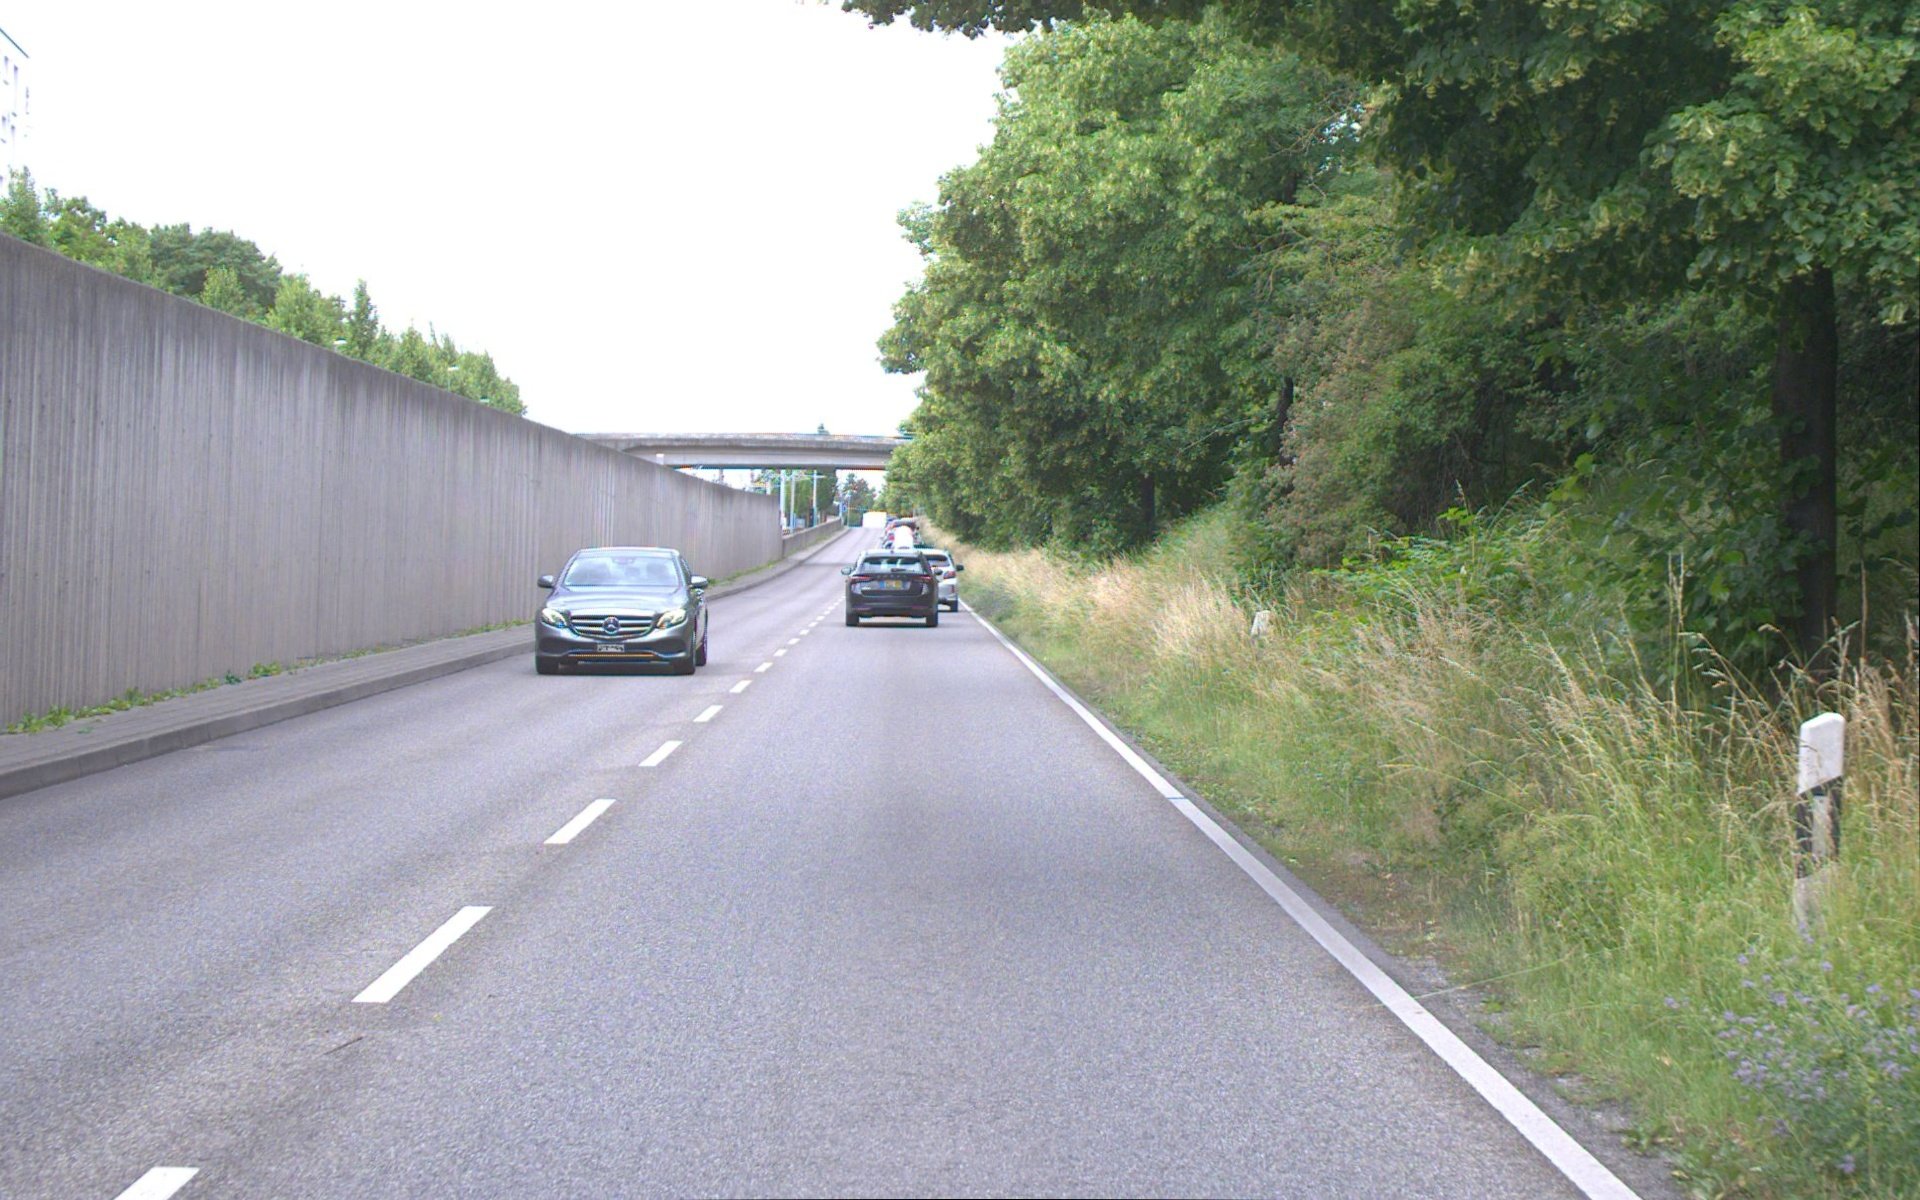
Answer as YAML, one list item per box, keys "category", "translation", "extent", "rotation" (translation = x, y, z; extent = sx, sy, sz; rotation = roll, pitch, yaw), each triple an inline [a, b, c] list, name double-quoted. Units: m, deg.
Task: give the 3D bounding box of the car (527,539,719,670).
- category: "car"
  translation: [-4.005, 0.015, 41.525]
  extent: [1.892, 1.478, 4.823]
  rotation: [0, 1, -1]

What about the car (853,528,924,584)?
- category: "car"
  translation: [-2.119, -1.289, 100.901]
  extent: [1.866, 1.485, 4.257]
  rotation: [4, 1, -3]

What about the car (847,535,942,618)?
- category: "car"
  translation: [-1.253, -0.433, 66.101]
  extent: [1.754, 1.518, 4.036]
  rotation: [1, 0, -1]

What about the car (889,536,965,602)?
- category: "car"
  translation: [-0.765, -0.759, 82.382]
  extent: [1.754, 1.518, 4.037]
  rotation: [0, 1, 0]
